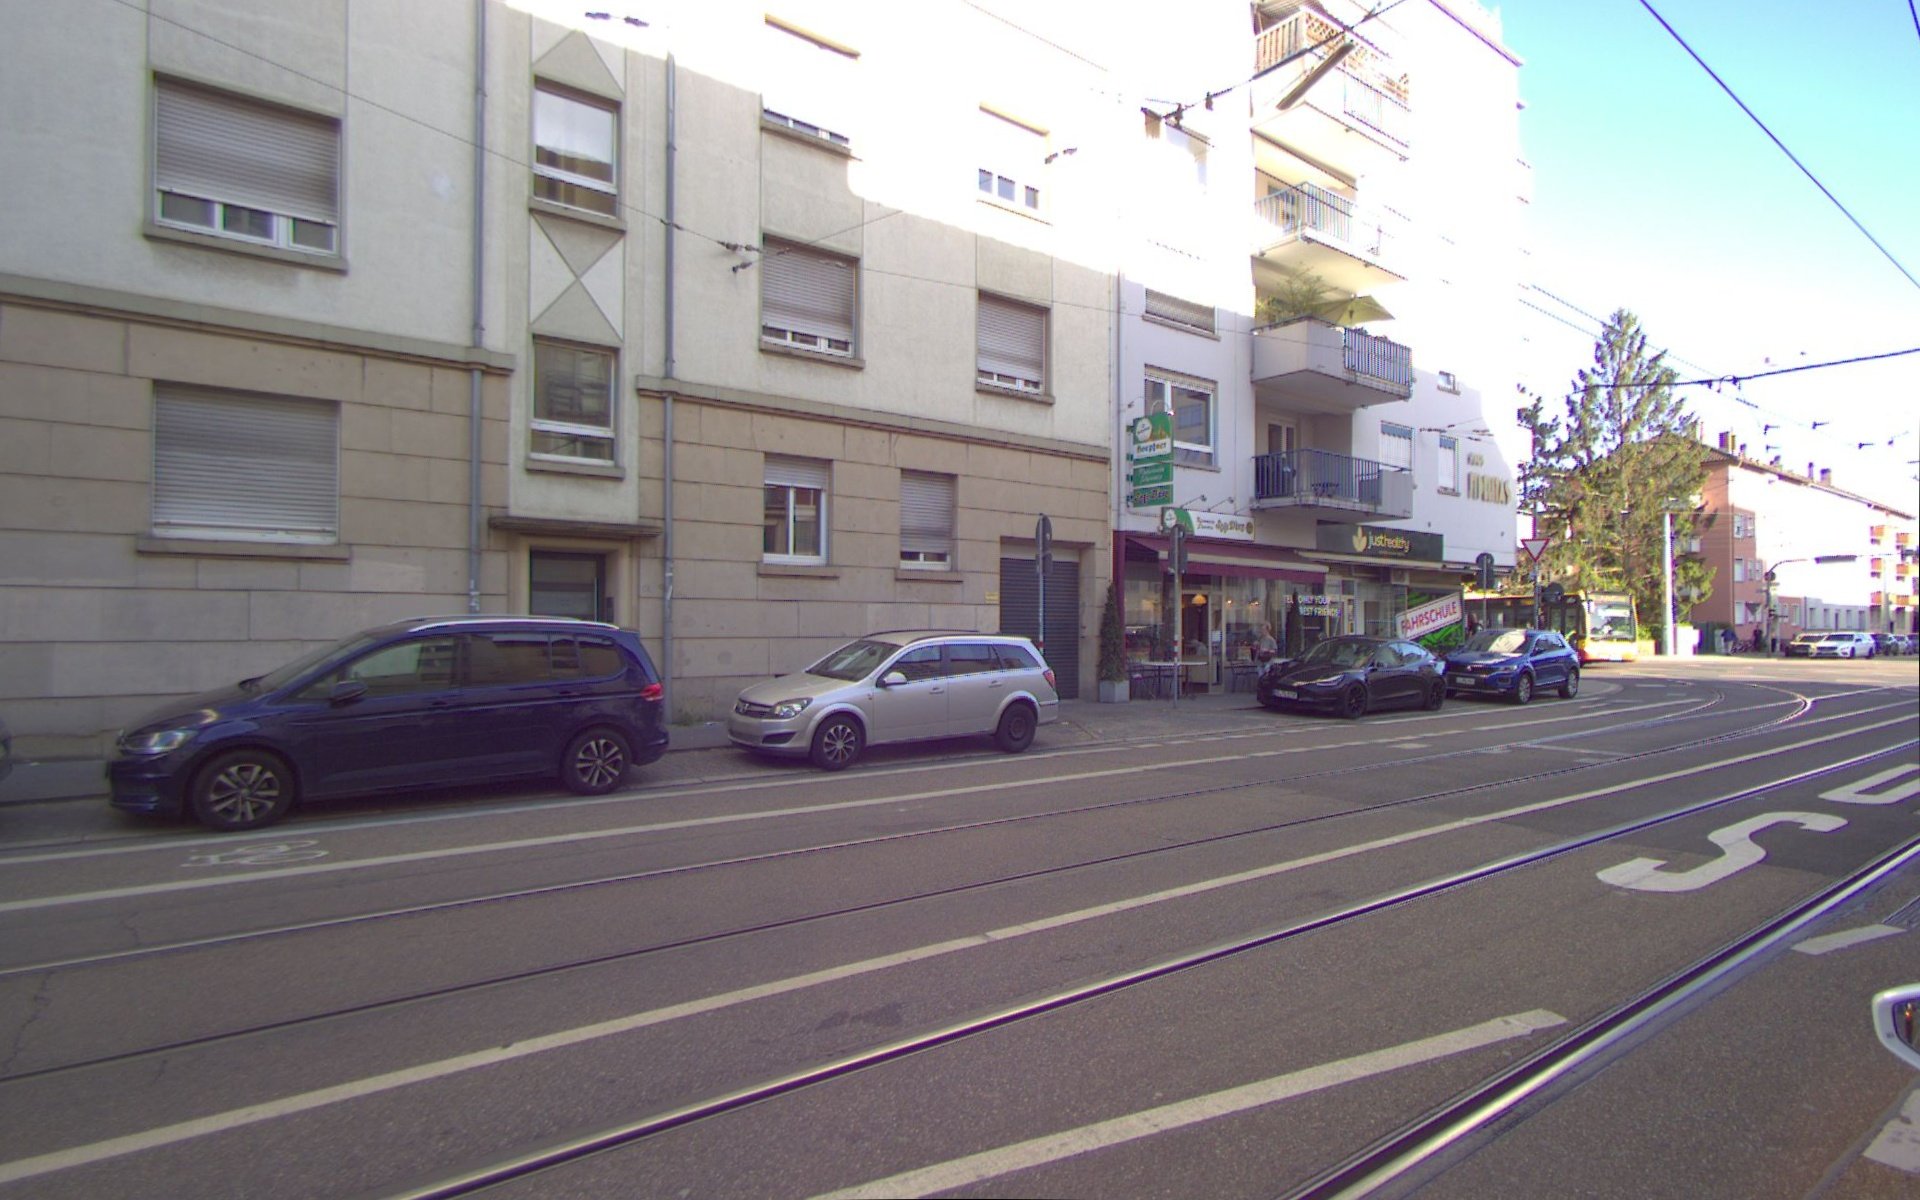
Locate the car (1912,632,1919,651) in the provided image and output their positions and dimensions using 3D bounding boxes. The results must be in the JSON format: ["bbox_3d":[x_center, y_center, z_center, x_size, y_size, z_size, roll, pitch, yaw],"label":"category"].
[{"bbox_3d":[79.795,3.413,82.399,3.965,1.517,1.896,1,-2,-38],"label":"car"}]

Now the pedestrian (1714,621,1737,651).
[{"bbox_3d":[44.586,2.110,58.507,0.729,1.713,0.839,1,-1,-31],"label":"pedestrian"}]

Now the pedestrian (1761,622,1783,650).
[{"bbox_3d":[49.501,2.205,61.260,0.729,1.713,0.839,1,-1,-31],"label":"pedestrian"}]

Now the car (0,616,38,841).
[{"bbox_3d":[-8.837,0.883,6.538,3.963,1.590,1.687,2,-1,-37],"label":"car"}]

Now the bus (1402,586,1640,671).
[{"bbox_3d":[23.547,1.225,43.119,2.685,3.200,10.168,0,-2,-14],"label":"bus"}]

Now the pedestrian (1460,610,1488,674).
[{"bbox_3d":[16.584,1.343,32.399,0.482,2.040,0.681,1,-1,-39],"label":"pedestrian"}]

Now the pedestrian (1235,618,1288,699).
[{"bbox_3d":[5.970,1.136,19.904,0.714,1.569,0.693,0,-1,-34],"label":"pedestrian"}]

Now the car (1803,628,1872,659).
[{"bbox_3d":[47.827,2.352,54.740,4.356,1.595,1.838,1,-1,-35],"label":"car"}]

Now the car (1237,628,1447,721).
[{"bbox_3d":[7.302,1.342,19.032,4.272,1.529,1.687,2,-1,-37],"label":"car"}]

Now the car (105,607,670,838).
[{"bbox_3d":[-5.030,0.946,9.234,4.208,1.637,1.685,2,-1,-39],"label":"car"}]

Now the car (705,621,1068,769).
[{"bbox_3d":[-0.807,1.086,12.659,4.347,1.529,1.686,2,-1,-38],"label":"car"}]

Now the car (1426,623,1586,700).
[{"bbox_3d":[12.265,1.322,22.477,3.965,1.529,1.731,2,-1,-38],"label":"car"}]

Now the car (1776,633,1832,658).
[{"bbox_3d":[50.406,2.686,59.989,3.967,1.452,1.895,1,-2,-40],"label":"car"}]

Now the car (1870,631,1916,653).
[{"bbox_3d":[68.765,3.069,73.995,3.965,1.517,1.896,1,-2,-38],"label":"car"}]

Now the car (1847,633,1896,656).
[{"bbox_3d":[63.864,3.097,70.388,3.965,1.517,1.896,1,-2,-38],"label":"car"}]

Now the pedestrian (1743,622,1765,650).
[{"bbox_3d":[48.939,2.206,61.933,0.729,1.713,0.839,1,-1,-31],"label":"pedestrian"}]

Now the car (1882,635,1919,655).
[{"bbox_3d":[72.984,3.472,77.616,3.965,1.517,1.896,1,-2,-38],"label":"car"}]
